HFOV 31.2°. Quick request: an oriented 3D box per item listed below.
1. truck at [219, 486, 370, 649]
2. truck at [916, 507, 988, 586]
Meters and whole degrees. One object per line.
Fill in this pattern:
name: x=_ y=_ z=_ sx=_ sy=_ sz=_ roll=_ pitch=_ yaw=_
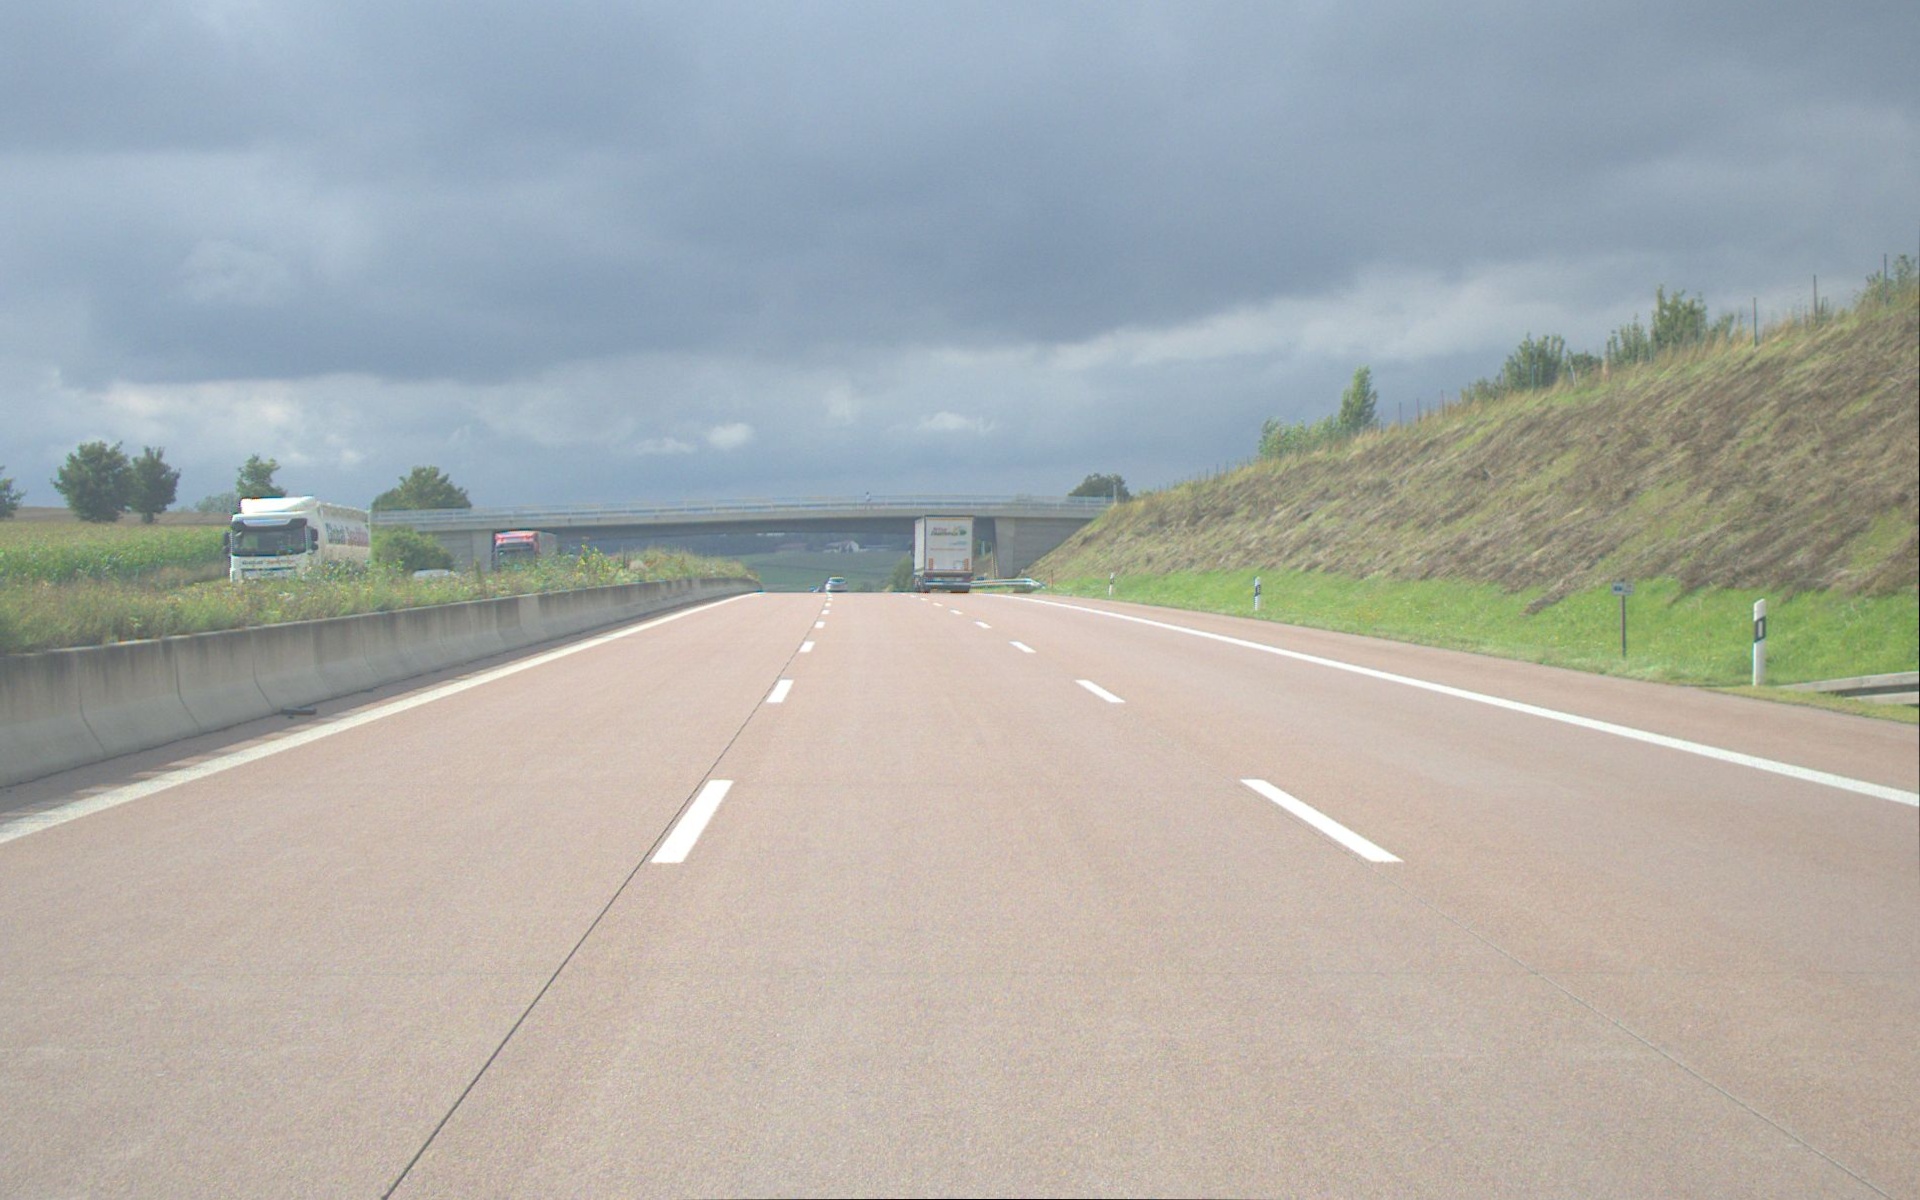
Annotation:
truck: x=-21.763 y=-1.147 z=113.030 sx=2.990 sy=5.048 sz=10.986 roll=1 pitch=1 yaw=-1
truck: x=-0.432 y=-2.857 z=180.793 sx=3.617 sy=3.932 sz=11.175 roll=1 pitch=1 yaw=0
